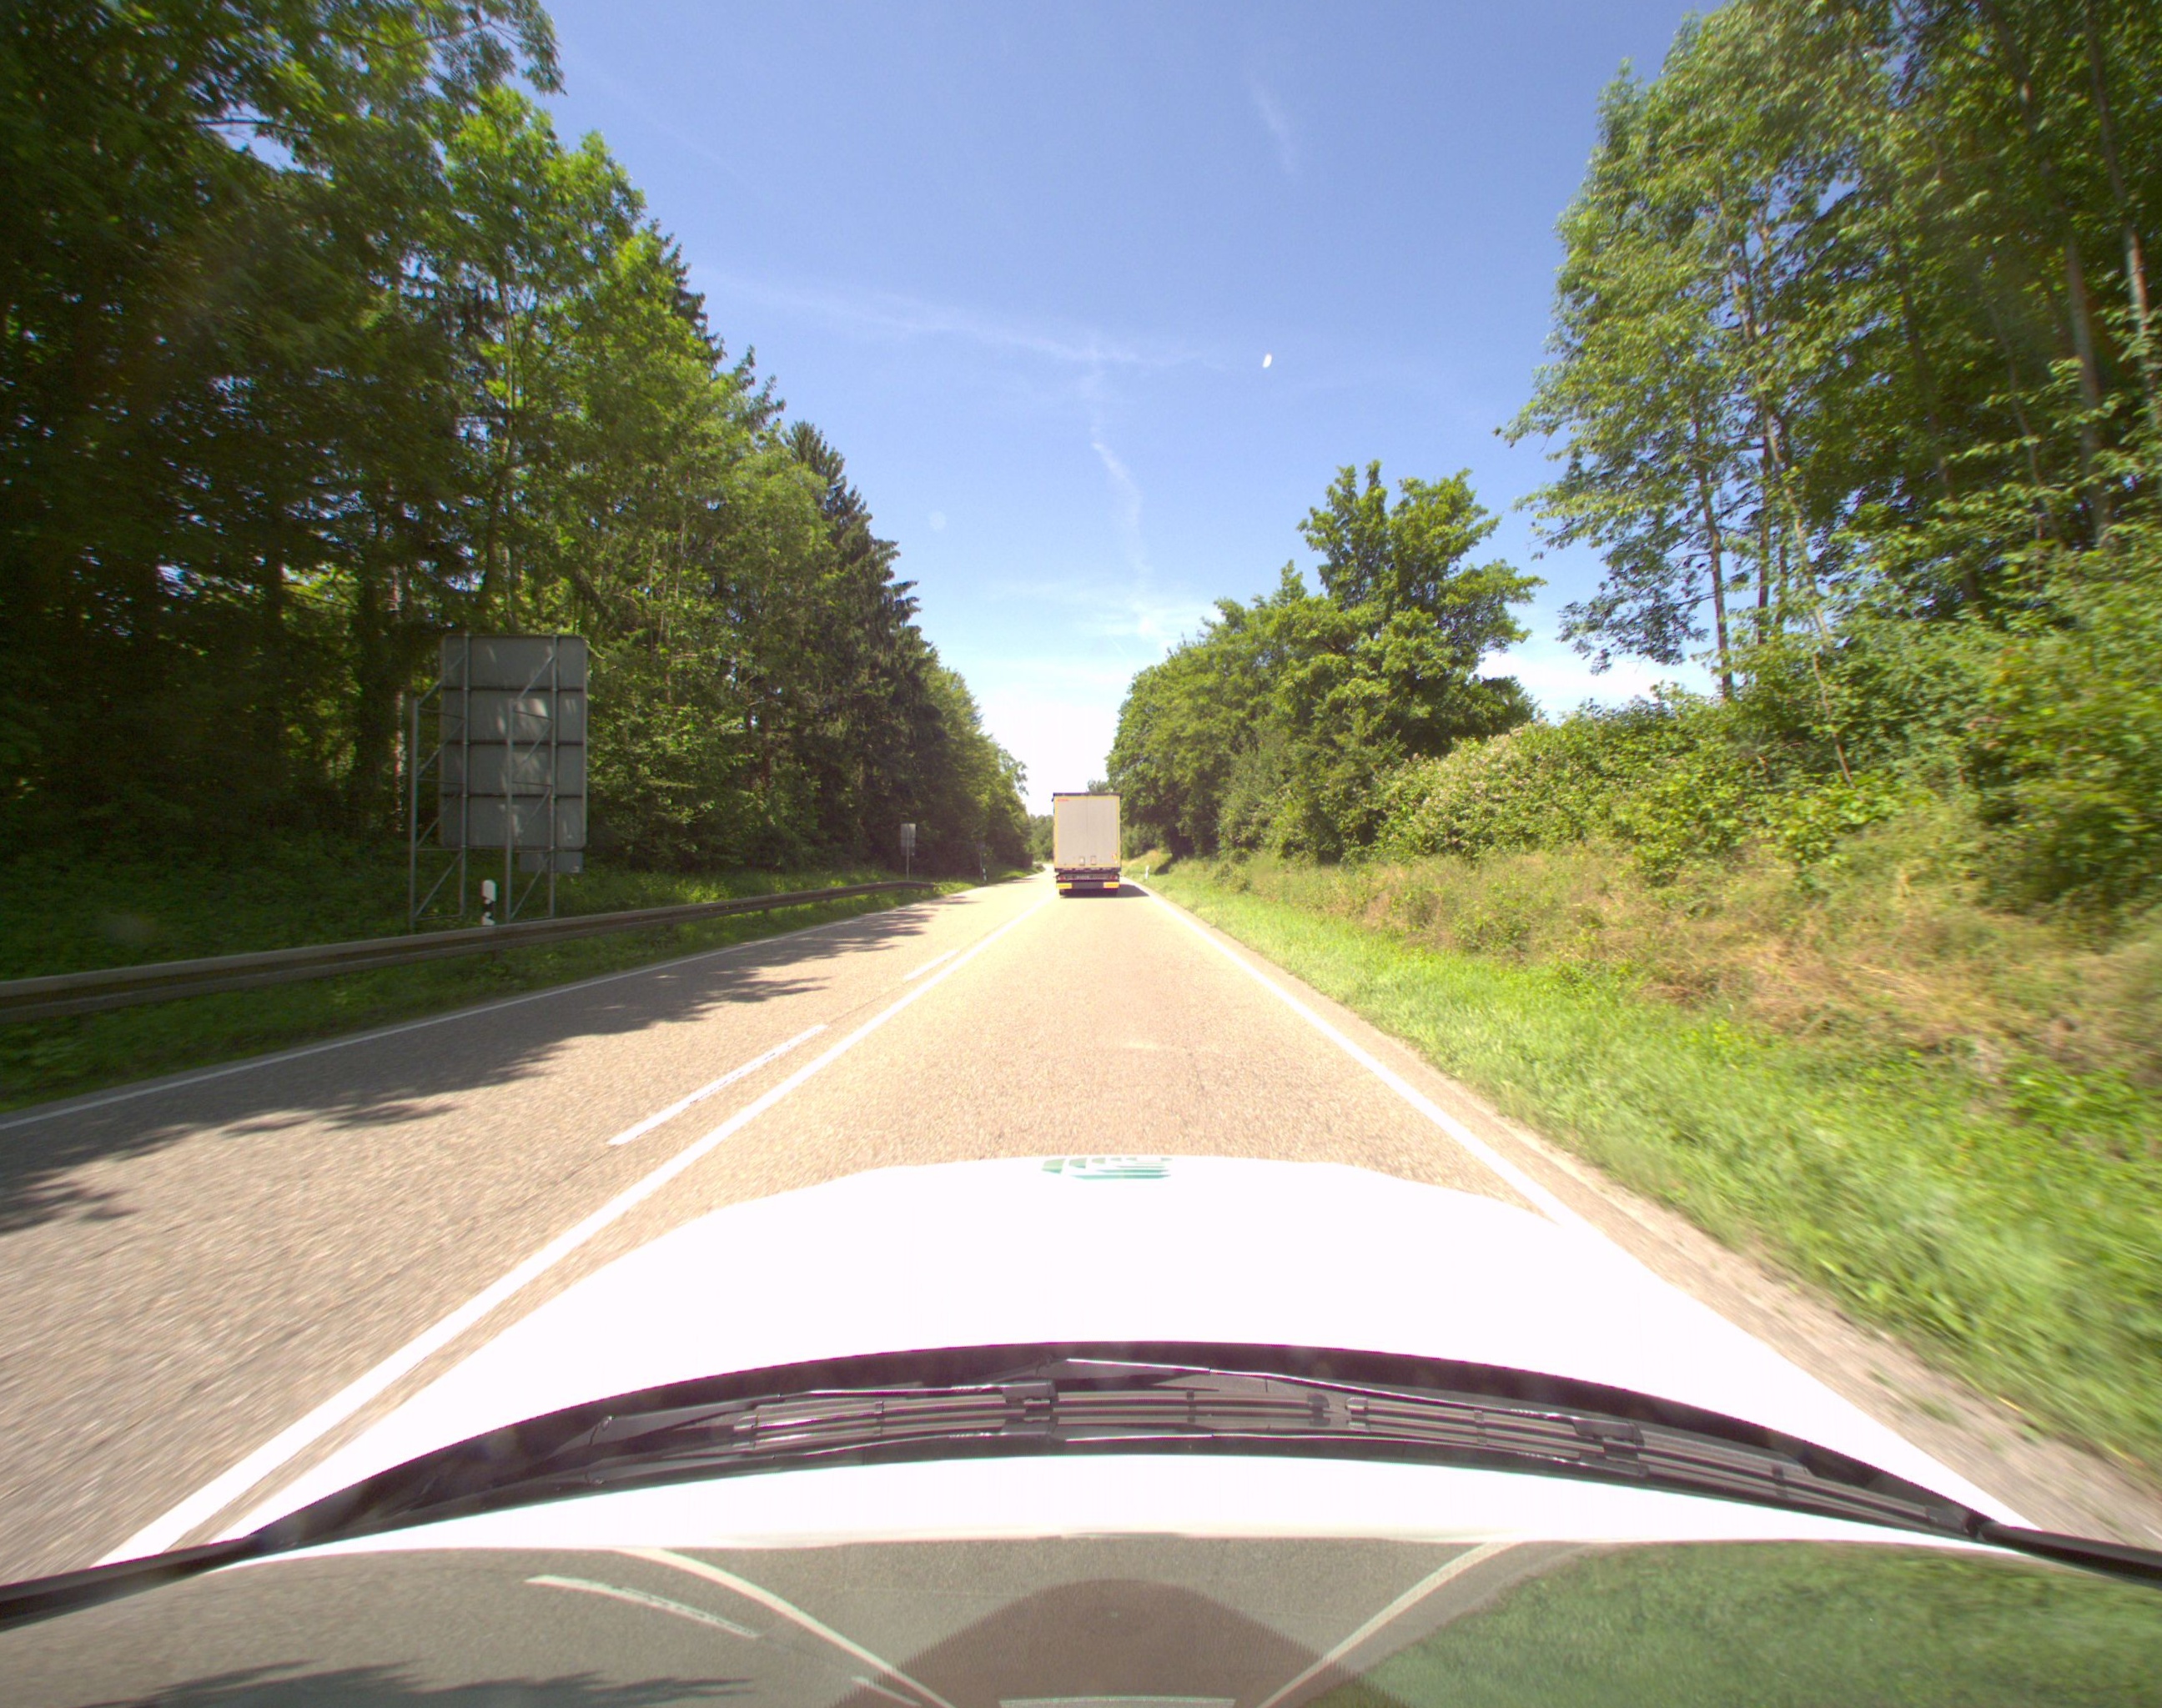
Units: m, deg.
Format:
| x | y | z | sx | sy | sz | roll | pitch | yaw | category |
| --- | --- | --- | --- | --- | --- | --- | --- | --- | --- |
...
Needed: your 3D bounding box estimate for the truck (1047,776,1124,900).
| x | y | z | sx | sy | sz | roll | pitch | yaw | category |
| --- | --- | --- | --- | --- | --- | --- | --- | --- | --- |
| 0.318 | -0.554 | 33.822 | 2.811 | 4.604 | 6.668 | -1 | -1 | 2 | truck |
